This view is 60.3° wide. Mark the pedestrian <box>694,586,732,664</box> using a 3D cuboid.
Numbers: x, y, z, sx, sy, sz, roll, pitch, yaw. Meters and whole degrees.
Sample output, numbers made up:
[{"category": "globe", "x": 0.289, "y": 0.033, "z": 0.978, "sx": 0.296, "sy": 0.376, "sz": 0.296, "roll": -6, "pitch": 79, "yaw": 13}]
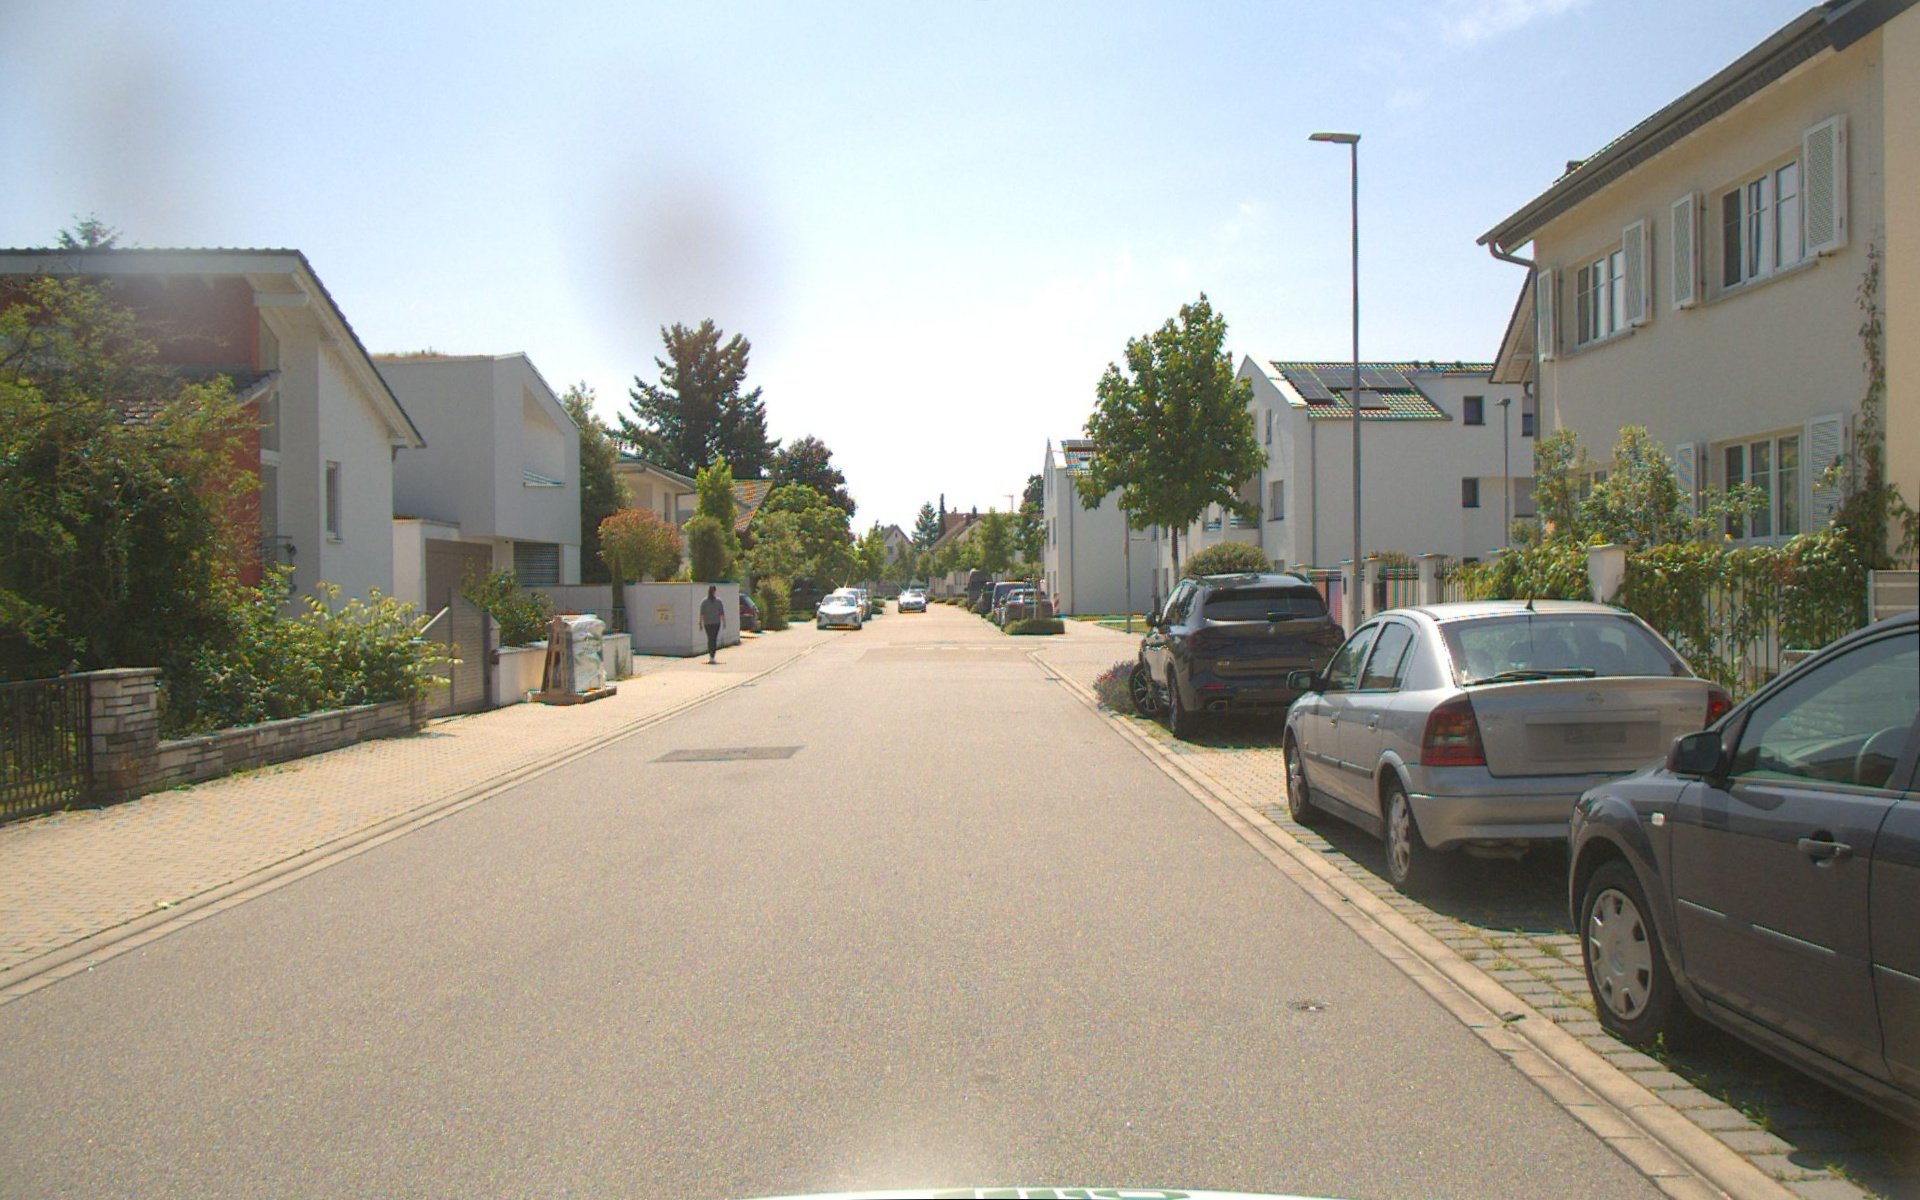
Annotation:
[{"category": "pedestrian", "x": -5.689, "y": 0.563, "z": 38.151, "sx": 0.700, "sy": 1.778, "sz": 0.960, "roll": -1, "pitch": 0, "yaw": -1}]

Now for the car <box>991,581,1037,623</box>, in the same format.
[{"category": "car", "x": 2.535, "y": 0.095, "z": 79.022, "sx": 2.056, "sy": 1.915, "sz": 4.842, "roll": -1, "pitch": 0, "yaw": 0}]

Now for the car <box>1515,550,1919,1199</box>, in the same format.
[{"category": "car", "x": 3.105, "y": 0.649, "z": 4.222, "sx": 1.707, "sy": 1.560, "sz": 4.446, "roll": -1, "pitch": 0, "yaw": -3}]

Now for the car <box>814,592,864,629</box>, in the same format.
[{"category": "car", "x": -5.154, "y": 0.414, "z": 70.832, "sx": 1.814, "sy": 1.514, "sz": 4.384, "roll": -1, "pitch": 0, "yaw": -1}]

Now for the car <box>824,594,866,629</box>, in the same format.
[{"category": "car", "x": -5.952, "y": 0.569, "z": 85.782, "sx": 1.888, "sy": 1.716, "sz": 4.497, "roll": -1, "pitch": 0, "yaw": -1}]

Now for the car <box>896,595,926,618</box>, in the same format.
[{"category": "car", "x": -3.352, "y": 0.412, "z": 114.100, "sx": 1.814, "sy": 1.504, "sz": 4.700, "roll": -1, "pitch": 0, "yaw": 1}]

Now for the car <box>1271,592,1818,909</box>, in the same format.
[{"category": "car", "x": 3.115, "y": 0.691, "z": 9.773, "sx": 1.777, "sy": 1.445, "sz": 4.093, "roll": -1, "pitch": 0, "yaw": 0}]

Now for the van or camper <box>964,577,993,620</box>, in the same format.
[{"category": "van or camper", "x": 1.273, "y": -0.104, "z": 118.359, "sx": 1.953, "sy": 2.993, "sz": 3.999, "roll": 0, "pitch": 0, "yaw": -1}]

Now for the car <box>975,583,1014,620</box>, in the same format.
[{"category": "car", "x": 1.913, "y": 0.061, "z": 93.437, "sx": 1.953, "sy": 1.981, "sz": 5.214, "roll": -2, "pitch": 0, "yaw": -1}]

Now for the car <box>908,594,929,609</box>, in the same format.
[{"category": "car", "x": -4.273, "y": 0.129, "z": 169.003, "sx": 1.952, "sy": 1.455, "sz": 4.000, "roll": -1, "pitch": 0, "yaw": 1}]

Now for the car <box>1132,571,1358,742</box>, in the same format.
[{"category": "car", "x": 3.103, "y": 0.538, "z": 18.895, "sx": 1.777, "sy": 1.685, "sz": 4.564, "roll": -1, "pitch": 1, "yaw": 0}]

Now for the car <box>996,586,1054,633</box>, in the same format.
[{"category": "car", "x": 2.417, "y": 0.329, "z": 62.319, "sx": 1.738, "sy": 1.623, "sz": 4.276, "roll": -2, "pitch": 0, "yaw": -3}]

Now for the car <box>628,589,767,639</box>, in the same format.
[{"category": "car", "x": -8.939, "y": 0.472, "z": 56.483, "sx": 4.336, "sy": 1.499, "sz": 1.851, "roll": 3, "pitch": 0, "yaw": 3}]
